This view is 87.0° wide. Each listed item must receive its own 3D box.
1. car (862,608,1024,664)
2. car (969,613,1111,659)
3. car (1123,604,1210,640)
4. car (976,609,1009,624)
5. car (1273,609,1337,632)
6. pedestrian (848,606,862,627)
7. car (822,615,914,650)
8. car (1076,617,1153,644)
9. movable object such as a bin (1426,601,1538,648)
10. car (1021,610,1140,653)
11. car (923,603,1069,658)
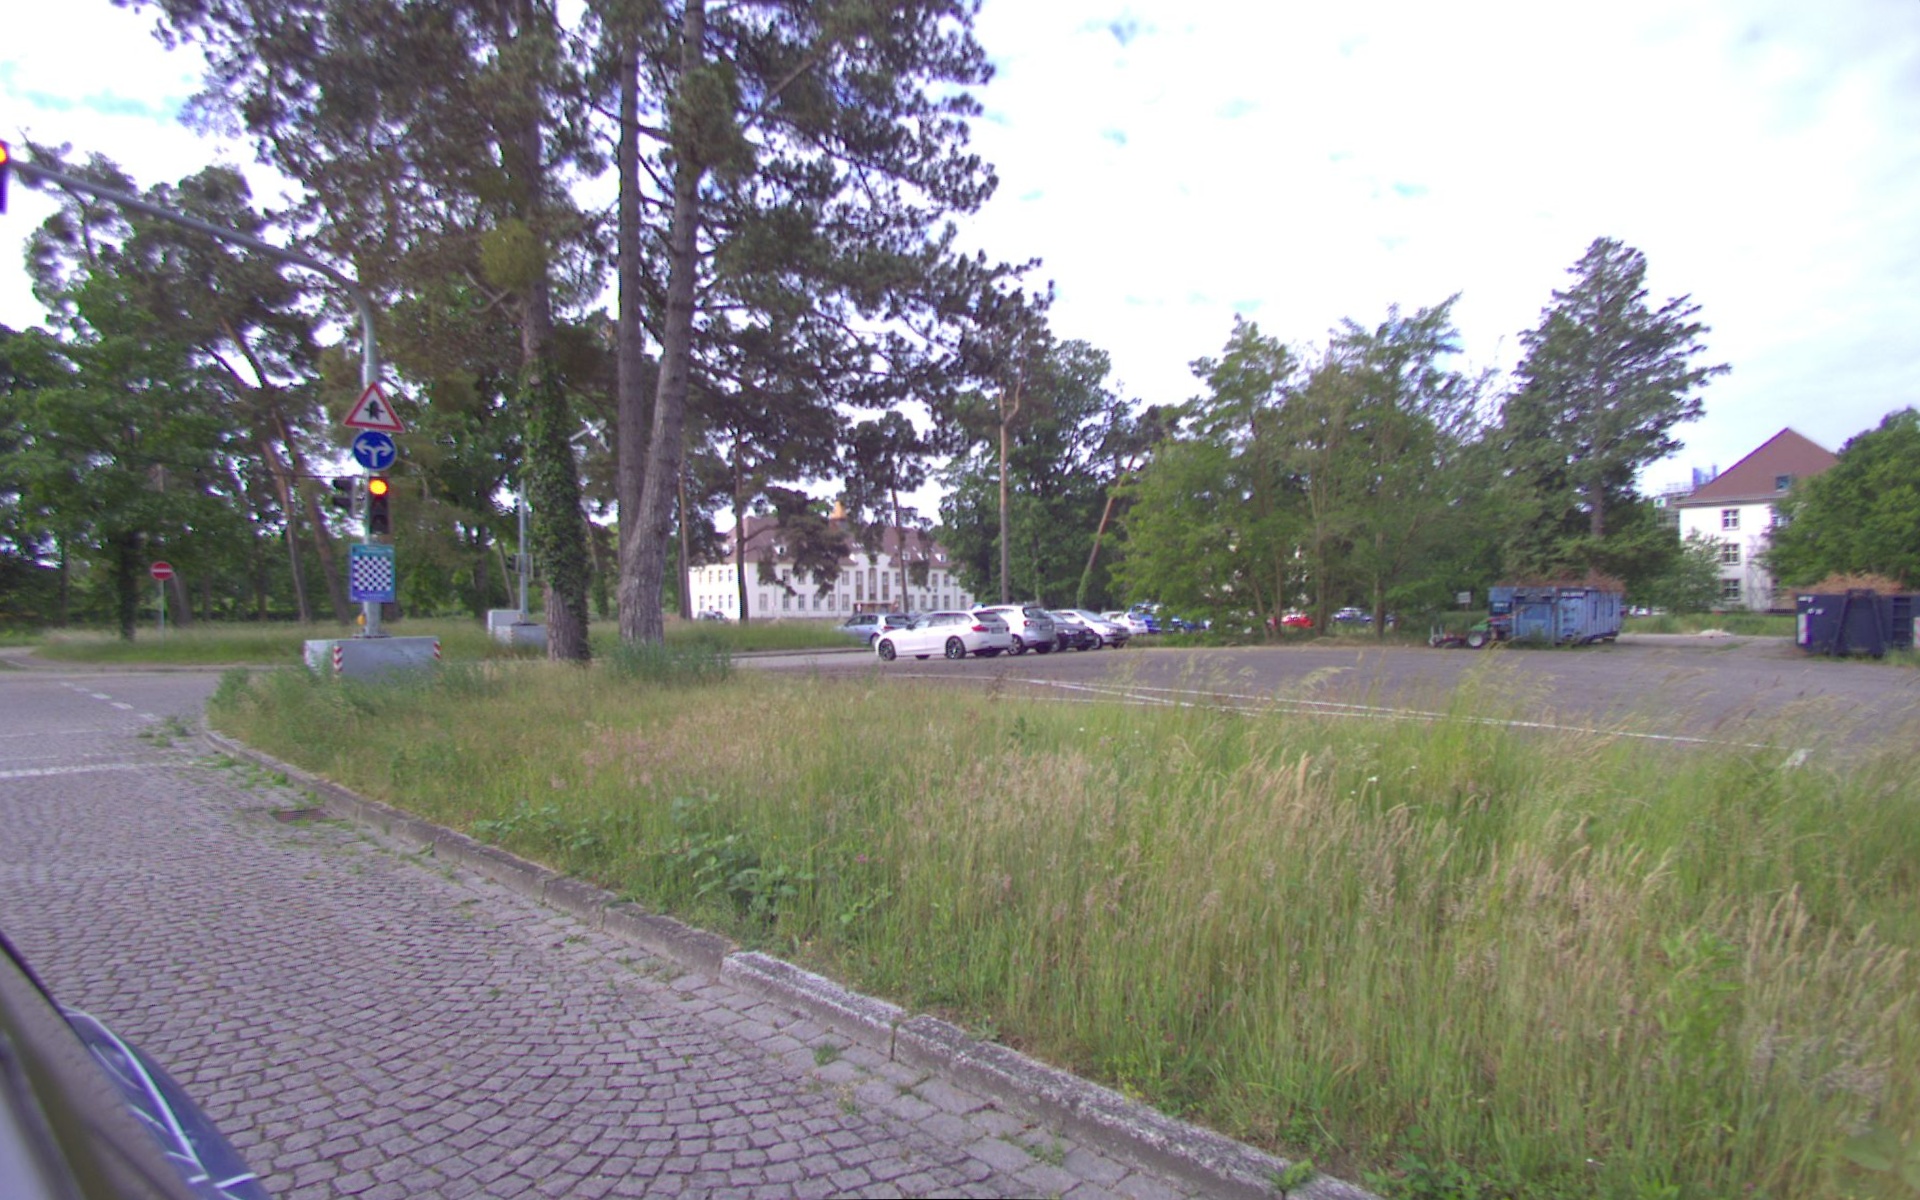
[{"bbox_3d":[-0.589,1.098,30.351,4.820,1.450,1.887,-5,-4,42],"label":"car"},{"bbox_3d":[2.668,1.202,34.470,4.633,1.433,1.859,-1,-1,42],"label":"car"},{"bbox_3d":[12.222,1.294,60.128,1.969,2.029,4.851,0,-1,-42],"label":"car"},{"bbox_3d":[4.632,2.402,145.367,2.167,2.029,4.767,-2,-1,42],"label":"car"},{"bbox_3d":[25.177,1.497,73.964,3.998,1.581,1.973,-1,-1,41],"label":"car"},{"bbox_3d":[-11.270,1.799,108.674,1.185,2.194,1.040,-2,-1,44],"label":"pedestrian"},{"bbox_3d":[-3.955,1.367,43.273,1.770,1.429,4.002,0,-1,-45],"label":"car"},{"bbox_3d":[8.606,1.679,56.601,3.937,1.460,1.770,-1,-1,45],"label":"car"},{"bbox_3d":[14.503,0.681,28.148,2.540,1.221,1.154,-2,-1,44],"label":"movable object such as a bin"},{"bbox_3d":[4.311,1.104,36.545,3.983,1.467,1.658,-1,-1,40],"label":"car"},{"bbox_3d":[1.086,1.000,32.306,4.484,1.602,1.822,-4,-3,40],"label":"car"}]
